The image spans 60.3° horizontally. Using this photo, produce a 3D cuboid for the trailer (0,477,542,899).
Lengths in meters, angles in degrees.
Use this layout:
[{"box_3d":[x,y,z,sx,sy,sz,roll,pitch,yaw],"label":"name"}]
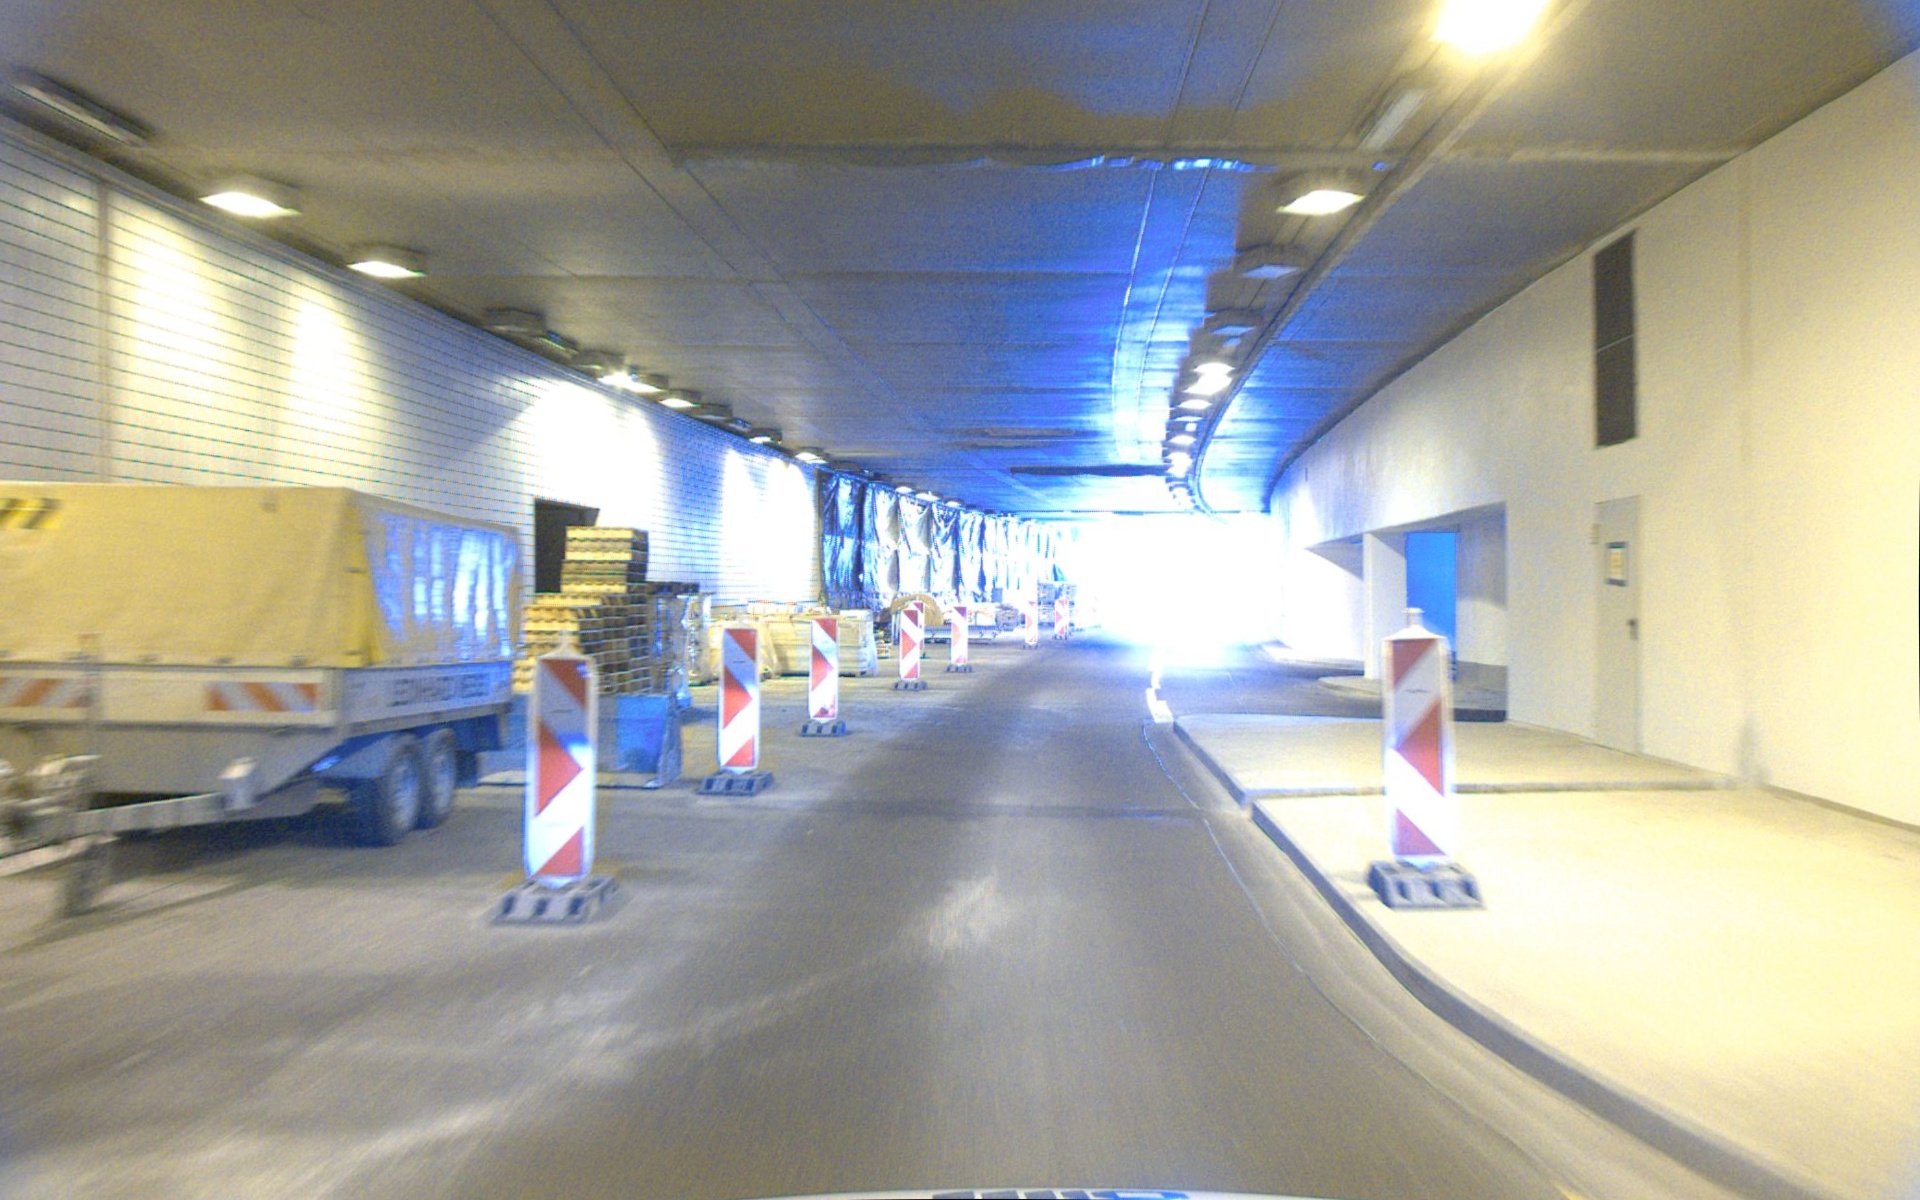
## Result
[{"box_3d":[-4.002,0.436,9.818,2.163,2.049,3.466,1,0,-1],"label":"trailer"}]
